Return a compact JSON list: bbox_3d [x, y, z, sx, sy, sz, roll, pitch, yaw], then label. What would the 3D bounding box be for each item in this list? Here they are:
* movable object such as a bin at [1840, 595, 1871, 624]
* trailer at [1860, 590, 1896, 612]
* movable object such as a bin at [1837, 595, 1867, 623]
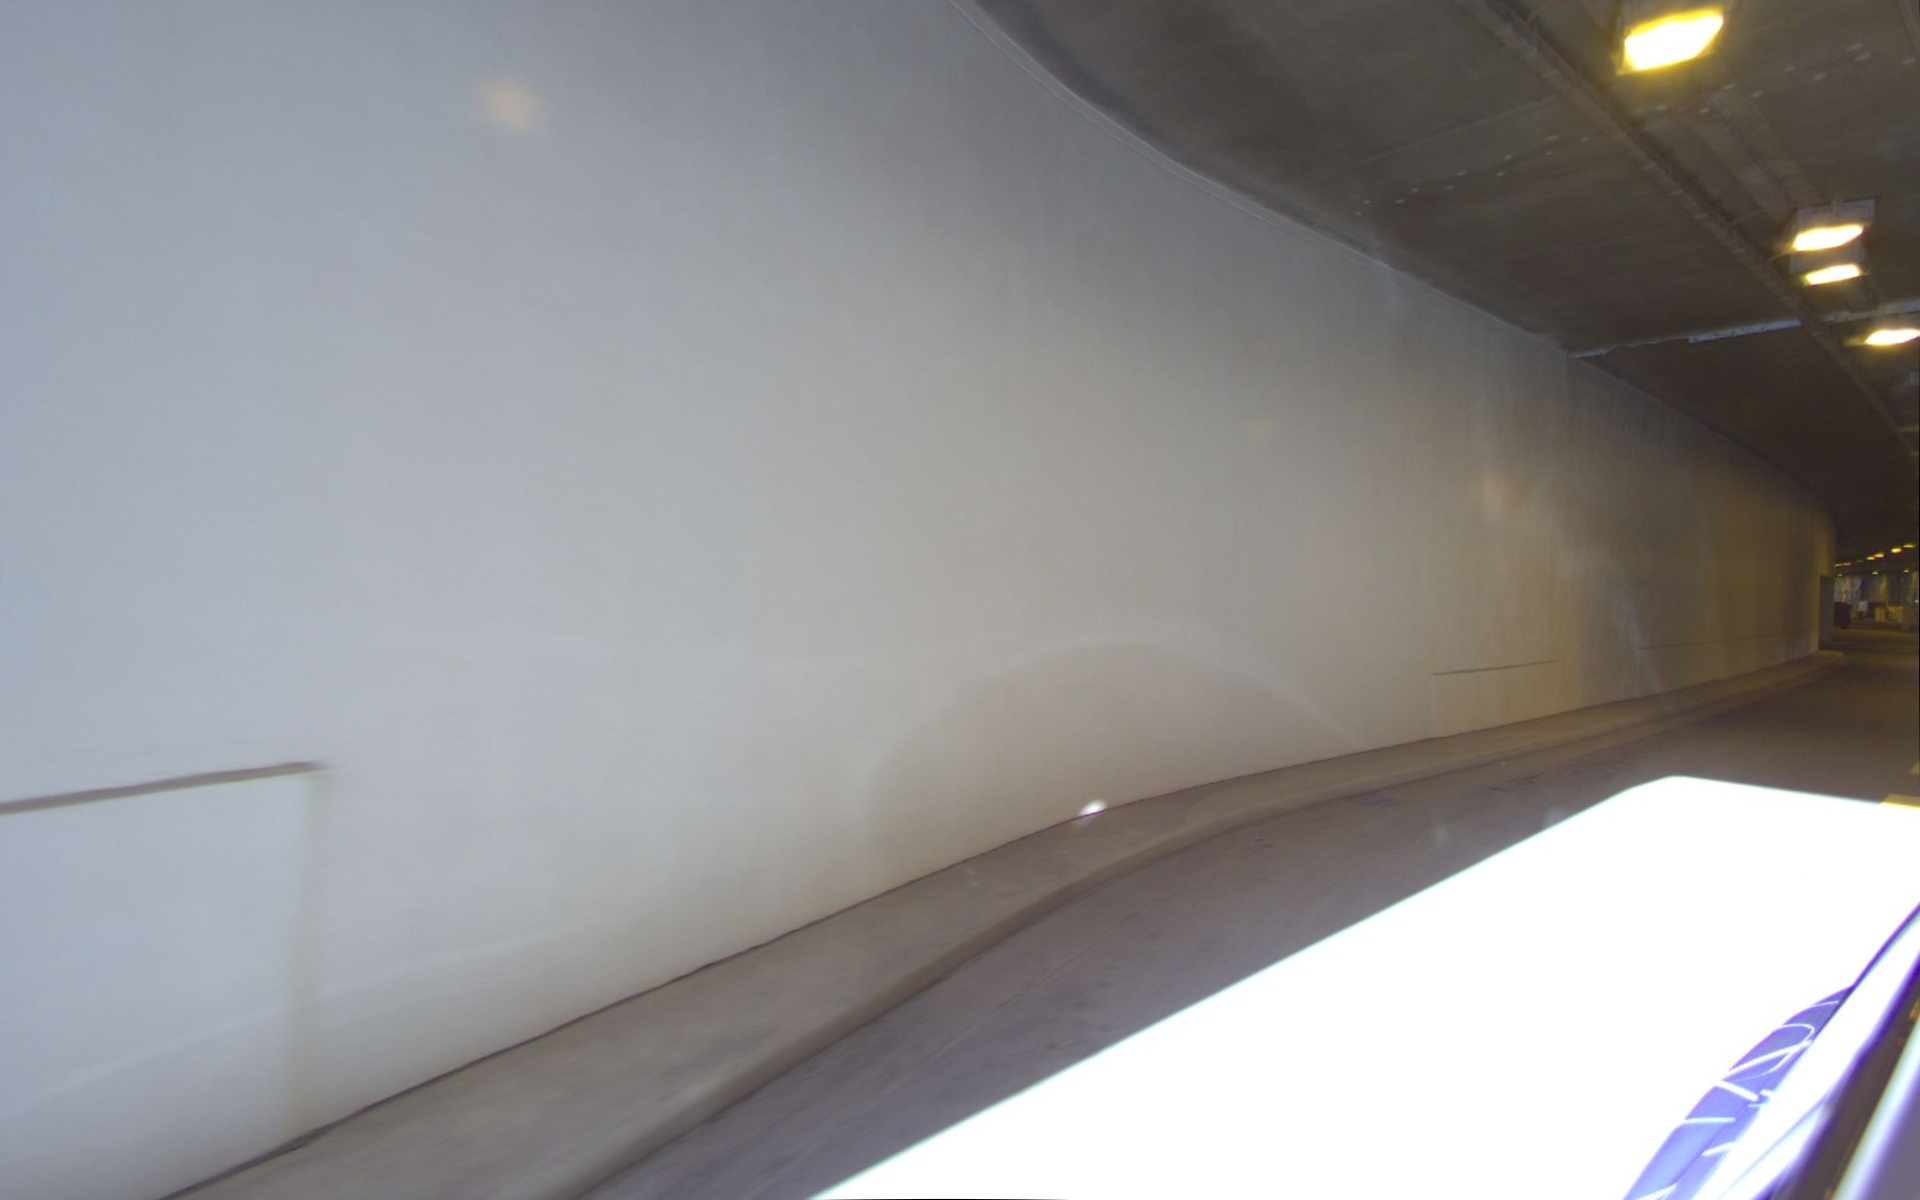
[{"bbox_3d":[47.341,0.481,53.520,1.143,1.463,1.345,1,1,38],"label":"movable object such as a bin"},{"bbox_3d":[79.655,0.086,87.845,1.630,1.813,3.091,1,1,29],"label":"trailer"},{"bbox_3d":[48.142,0.459,54.639,1.095,1.463,1.304,1,1,38],"label":"movable object such as a bin"}]
